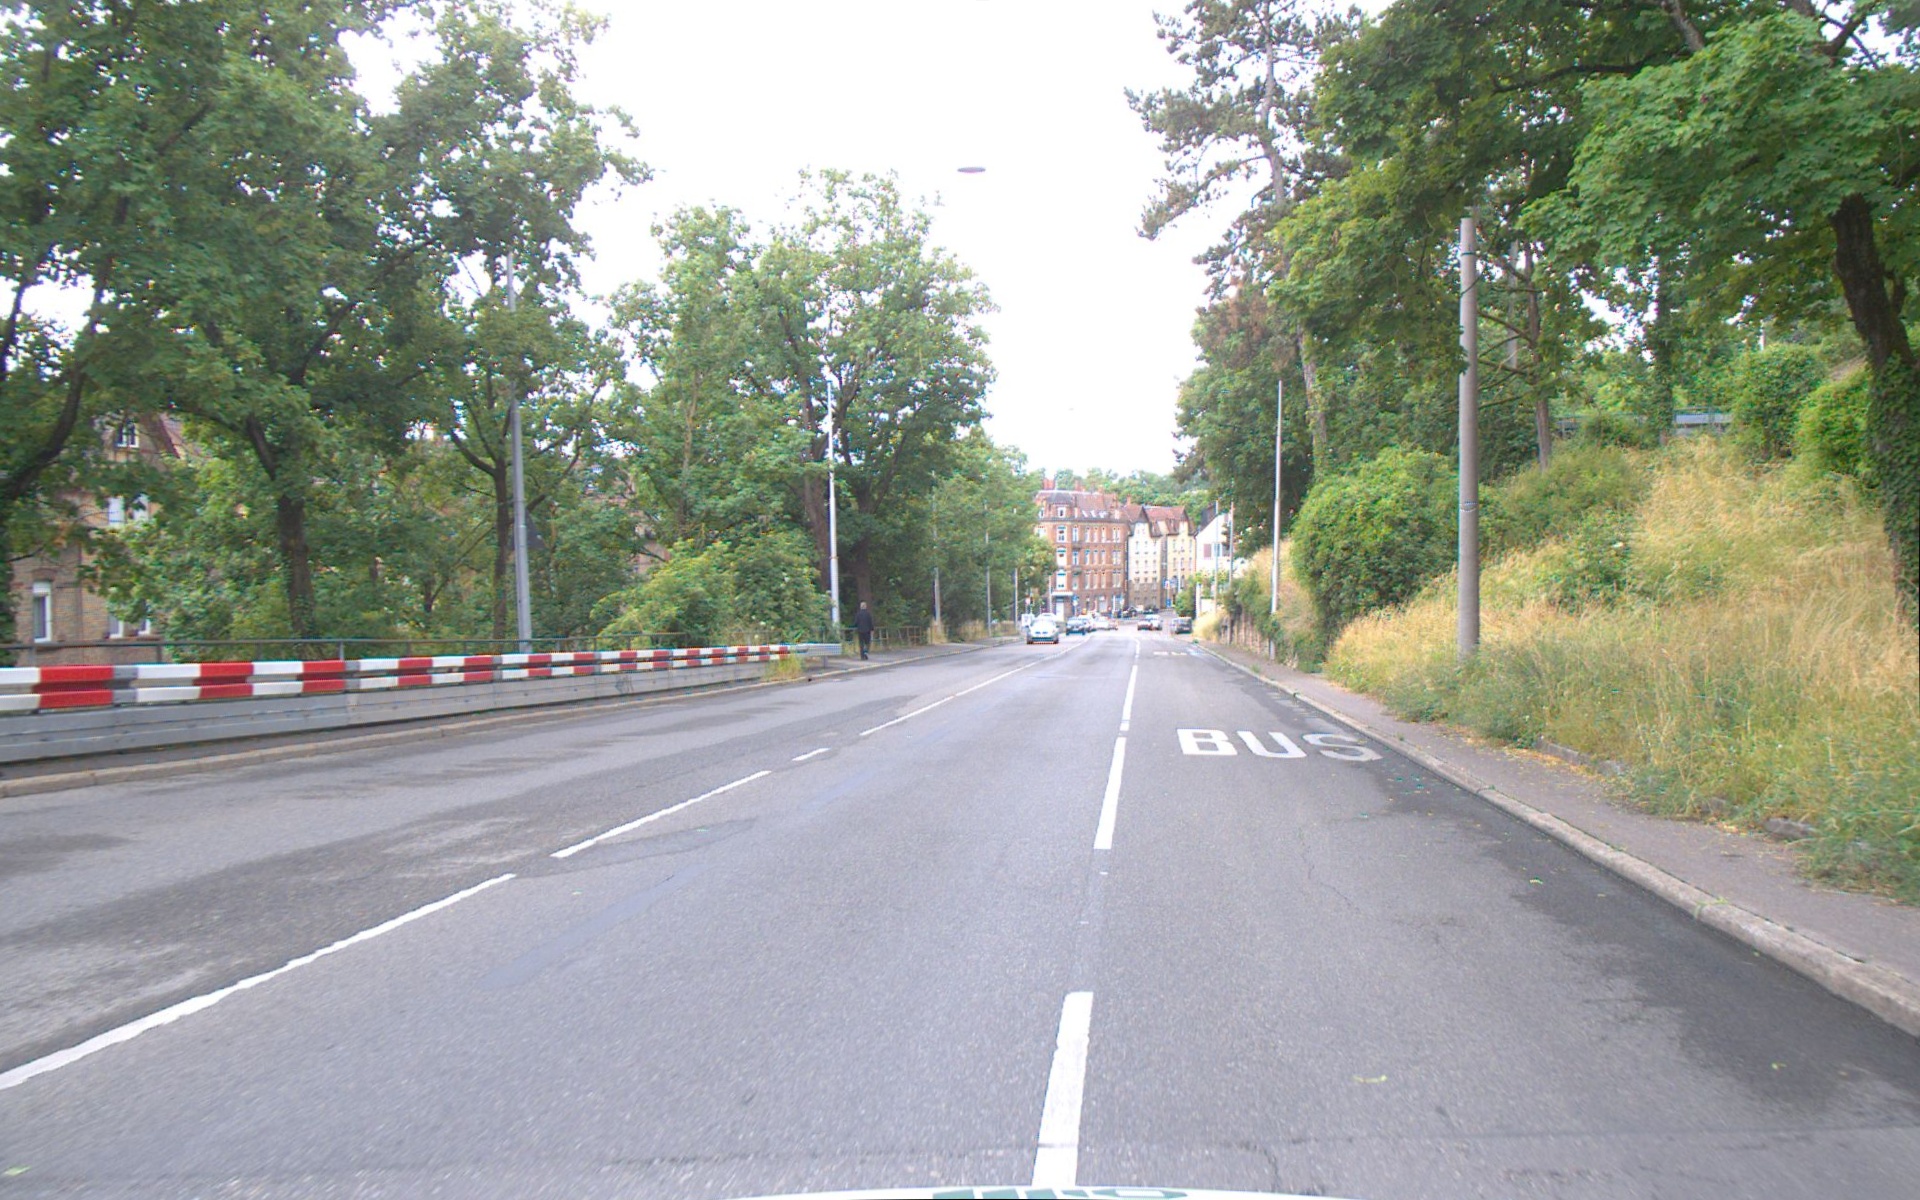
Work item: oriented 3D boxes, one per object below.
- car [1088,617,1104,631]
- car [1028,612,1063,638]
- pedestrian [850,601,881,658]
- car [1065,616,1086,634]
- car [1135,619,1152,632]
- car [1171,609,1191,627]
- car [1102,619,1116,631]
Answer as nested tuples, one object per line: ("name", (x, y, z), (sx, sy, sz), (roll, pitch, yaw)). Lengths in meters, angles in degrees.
("car", (15.990, 2.882, 194.706), (1.746, 1.602, 4.283), (-1, -1, 6))
("car", (4.917, 1.417, 94.831), (1.756, 1.452, 4.146), (0, 0, 6))
("pedestrian", (-3.053, 0.951, 53.509), (0.772, 1.805, 1.209), (3, 0, 4))
("car", (9.867, 2.129, 141.038), (1.633, 1.473, 3.690), (-1, -1, 7))
("car", (22.816, 3.172, 205.725), (1.777, 1.455, 4.003), (1, -1, 11))
("car", (19.631, 1.623, 147.018), (1.646, 1.476, 4.002), (-4, -2, 6))
("car", (19.332, 3.248, 214.453), (1.746, 1.485, 4.431), (-1, -1, 6))
